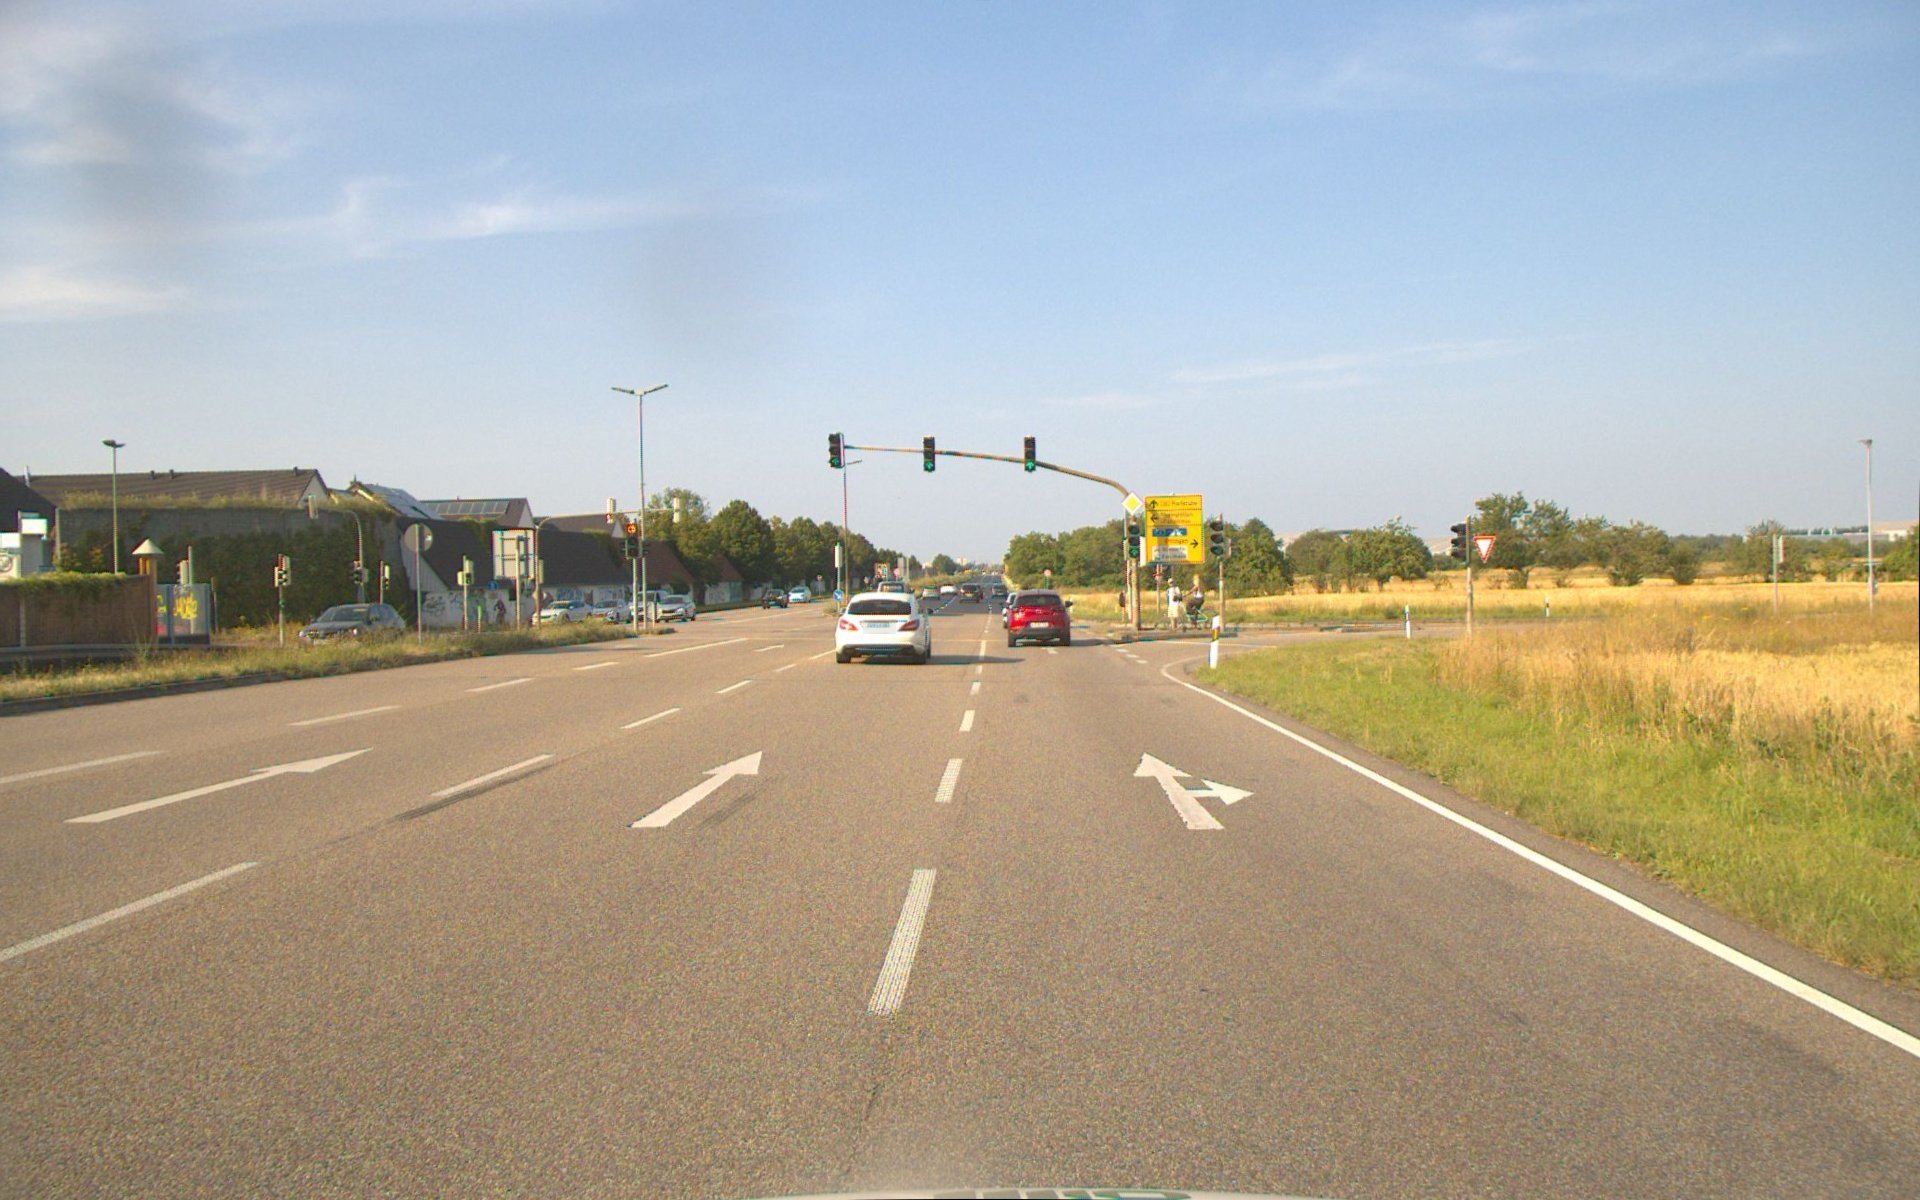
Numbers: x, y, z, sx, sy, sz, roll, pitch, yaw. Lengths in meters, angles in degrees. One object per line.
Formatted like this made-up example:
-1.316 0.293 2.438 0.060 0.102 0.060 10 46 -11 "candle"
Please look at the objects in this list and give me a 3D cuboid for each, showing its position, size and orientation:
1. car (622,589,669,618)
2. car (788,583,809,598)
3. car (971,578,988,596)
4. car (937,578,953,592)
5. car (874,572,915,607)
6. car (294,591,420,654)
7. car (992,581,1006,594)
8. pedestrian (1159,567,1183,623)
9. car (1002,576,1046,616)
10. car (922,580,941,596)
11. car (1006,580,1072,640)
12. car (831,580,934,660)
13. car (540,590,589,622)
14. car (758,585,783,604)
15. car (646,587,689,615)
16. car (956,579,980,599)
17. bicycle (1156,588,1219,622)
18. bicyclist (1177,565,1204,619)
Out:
-19.689 0.208 103.711 1.956 1.716 4.576 0 1 1 "car"
-16.684 -0.997 171.154 1.953 1.523 3.999 0 1 -2 "car"
1.997 -1.331 166.142 1.675 1.766 3.868 0 1 1 "car"
-1.750 -1.755 192.963 1.740 1.694 3.662 0 1 -2 "car"
-3.712 -0.637 94.583 1.983 1.924 4.960 0 1 2 "car"
-17.083 0.601 47.079 1.686 1.657 4.660 0 1 3 "car"
4.116 -1.283 173.563 1.409 1.306 2.915 0 1 2 "car"
6.767 -0.161 53.110 0.695 1.782 0.863 0 1 4 "pedestrian"
2.571 -0.173 65.858 1.693 1.556 3.475 0 1 2 "car"
-2.753 -1.218 160.516 1.682 1.518 3.586 0 1 2 "car"
2.182 0.232 46.023 1.717 1.543 4.002 -1 1 2 "car"
-1.556 0.371 34.619 1.855 1.535 4.001 0 1 1 "car"
-21.532 0.303 90.178 1.851 1.646 3.855 0 1 -2 "car"
-16.021 -0.474 140.066 1.786 1.534 3.796 0 1 -2 "car"
-16.480 0.046 93.321 1.748 1.462 4.356 0 1 -2 "car"
0.736 -0.998 143.645 1.800 1.713 4.002 0 1 4 "car"
7.604 0.147 55.285 2.051 1.108 0.808 0 1 5 "bicycle"
7.691 -0.268 55.259 0.830 1.786 0.799 0 1 3 "bicyclist"
